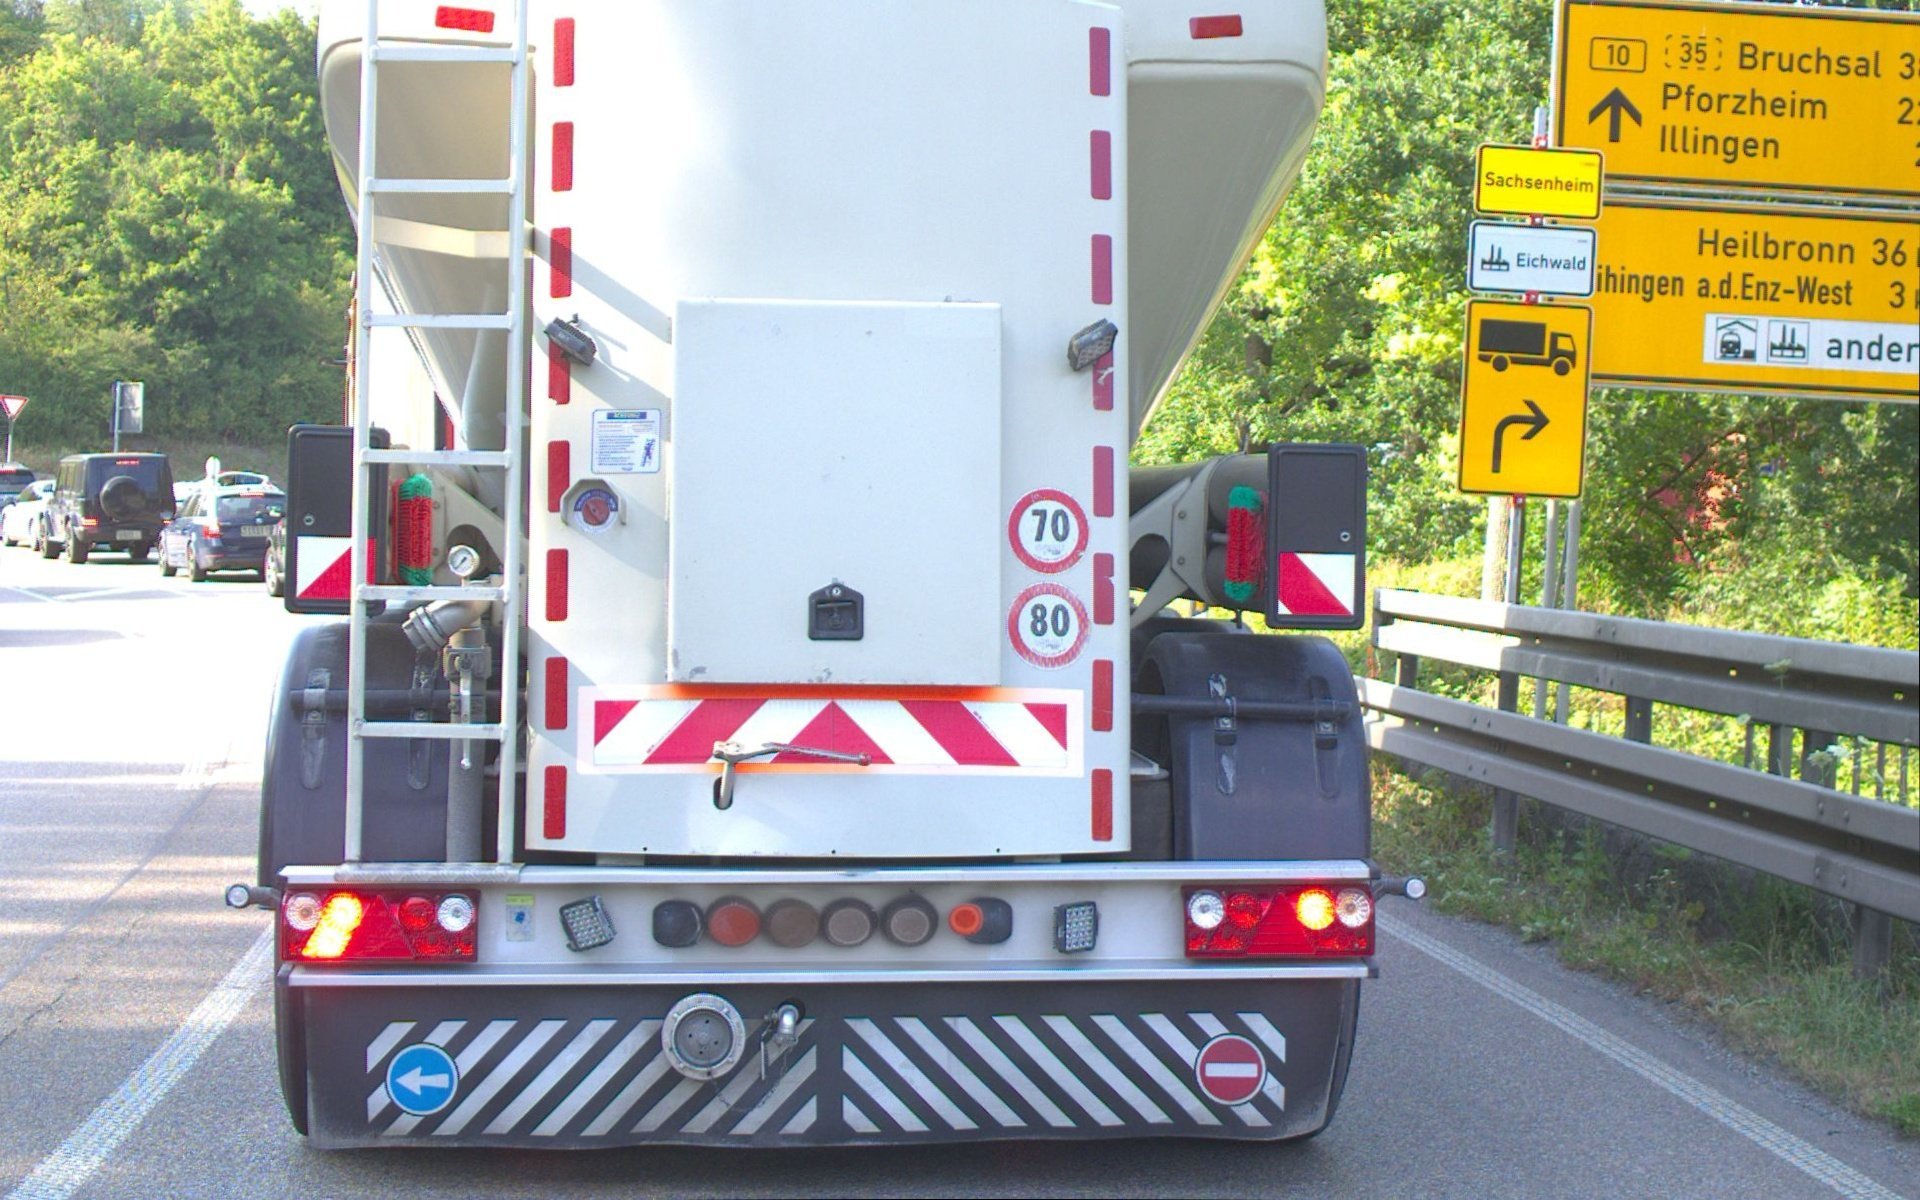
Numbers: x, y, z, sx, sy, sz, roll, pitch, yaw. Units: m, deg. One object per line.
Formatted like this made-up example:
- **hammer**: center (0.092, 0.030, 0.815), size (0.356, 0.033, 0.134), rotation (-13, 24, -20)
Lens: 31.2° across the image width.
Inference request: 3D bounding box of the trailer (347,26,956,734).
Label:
- **trailer**: center (-3.127, -1.555, 28.895), size (3.544, 4.497, 12.988), rotation (2, 1, -12)

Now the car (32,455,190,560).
- **car**: center (-15.537, -1.728, 62.785), size (1.956, 1.845, 4.001), rotation (-1, 3, -26)

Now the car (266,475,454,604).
- **car**: center (-8.013, -0.842, 45.683), size (1.867, 1.622, 4.002), rotation (-1, 2, -18)

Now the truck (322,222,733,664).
- **truck**: center (-4.676, -1.544, 35.858), size (3.449, 4.072, 6.493), rotation (2, 1, -14)

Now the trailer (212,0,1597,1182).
- **trailer**: center (-0.536, -1.098, 12.008), size (2.886, 4.439, 9.608), rotation (1, 1, -5)

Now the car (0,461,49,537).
- **car**: center (-21.494, -2.283, 75.736), size (1.867, 1.589, 4.001), rotation (2, 1, -27)

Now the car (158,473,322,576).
- **car**: center (-11.383, -1.217, 54.171), size (1.867, 1.559, 4.001), rotation (-1, 2, -21)

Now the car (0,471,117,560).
- **car**: center (-18.684, -1.758, 70.303), size (1.867, 1.677, 4.001), rotation (2, 1, -27)

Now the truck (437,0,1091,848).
- **truck**: center (-1.219, -0.992, 18.038), size (2.823, 4.021, 5.896), rotation (1, 1, -7)

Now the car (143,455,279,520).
- **car**: center (-25.456, -3.825, 116.879), size (3.988, 2.007, 2.000), rotation (2, 1, -40)
